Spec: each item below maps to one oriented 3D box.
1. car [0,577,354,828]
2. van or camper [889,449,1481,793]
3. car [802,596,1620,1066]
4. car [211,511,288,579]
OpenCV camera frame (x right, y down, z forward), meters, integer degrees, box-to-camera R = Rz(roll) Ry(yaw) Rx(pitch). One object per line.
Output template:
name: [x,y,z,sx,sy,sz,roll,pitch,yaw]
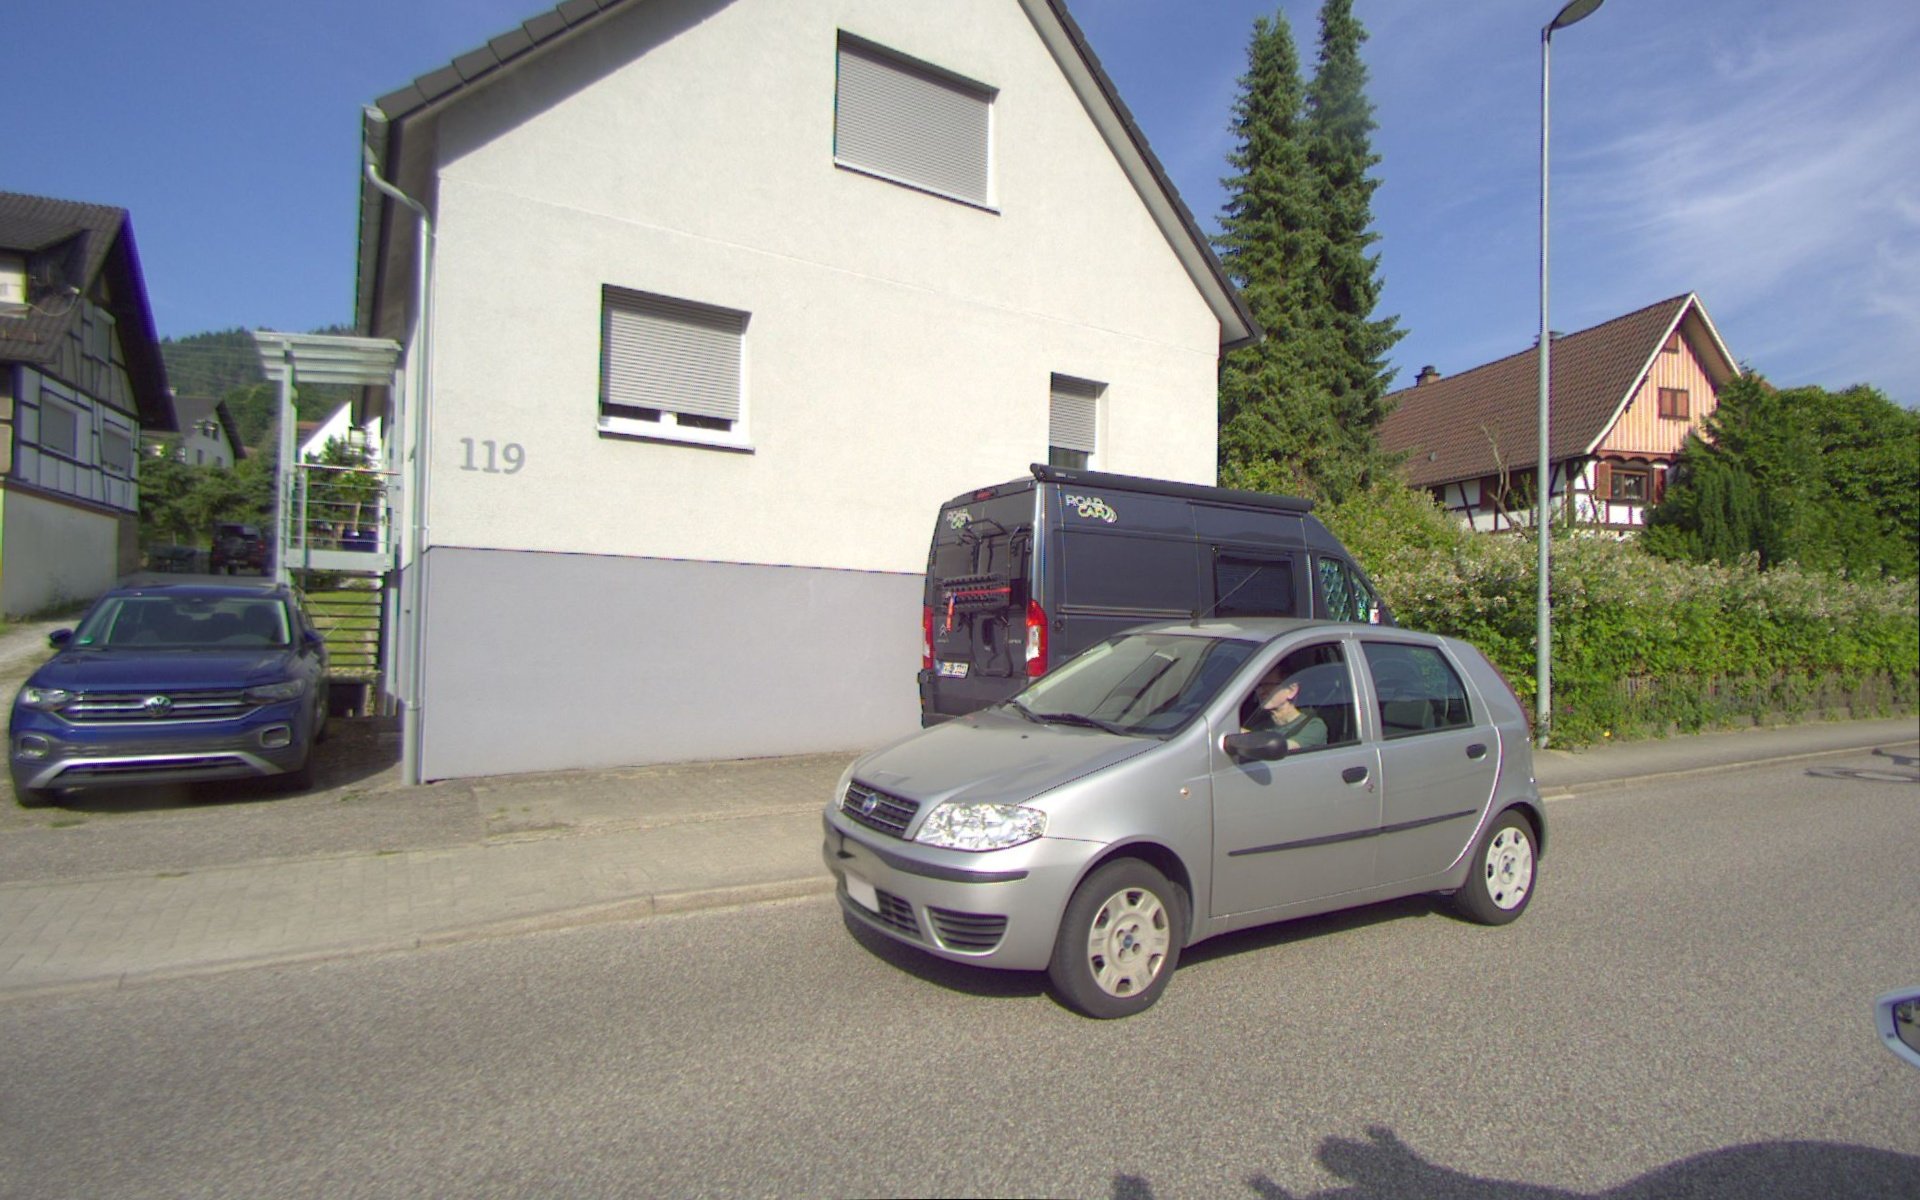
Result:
car: [-6.278,0.629,8.511,1.885,1.570,3.898,1,1,-30]
van or camper: [2.392,0.236,9.966,5.831,2.589,2.138,1,-1,-30]
car: [1.381,0.797,4.957,3.955,1.504,1.622,2,-1,-31]
car: [-23.788,-1.875,33.731,1.644,2.040,3.795,4,3,-30]
